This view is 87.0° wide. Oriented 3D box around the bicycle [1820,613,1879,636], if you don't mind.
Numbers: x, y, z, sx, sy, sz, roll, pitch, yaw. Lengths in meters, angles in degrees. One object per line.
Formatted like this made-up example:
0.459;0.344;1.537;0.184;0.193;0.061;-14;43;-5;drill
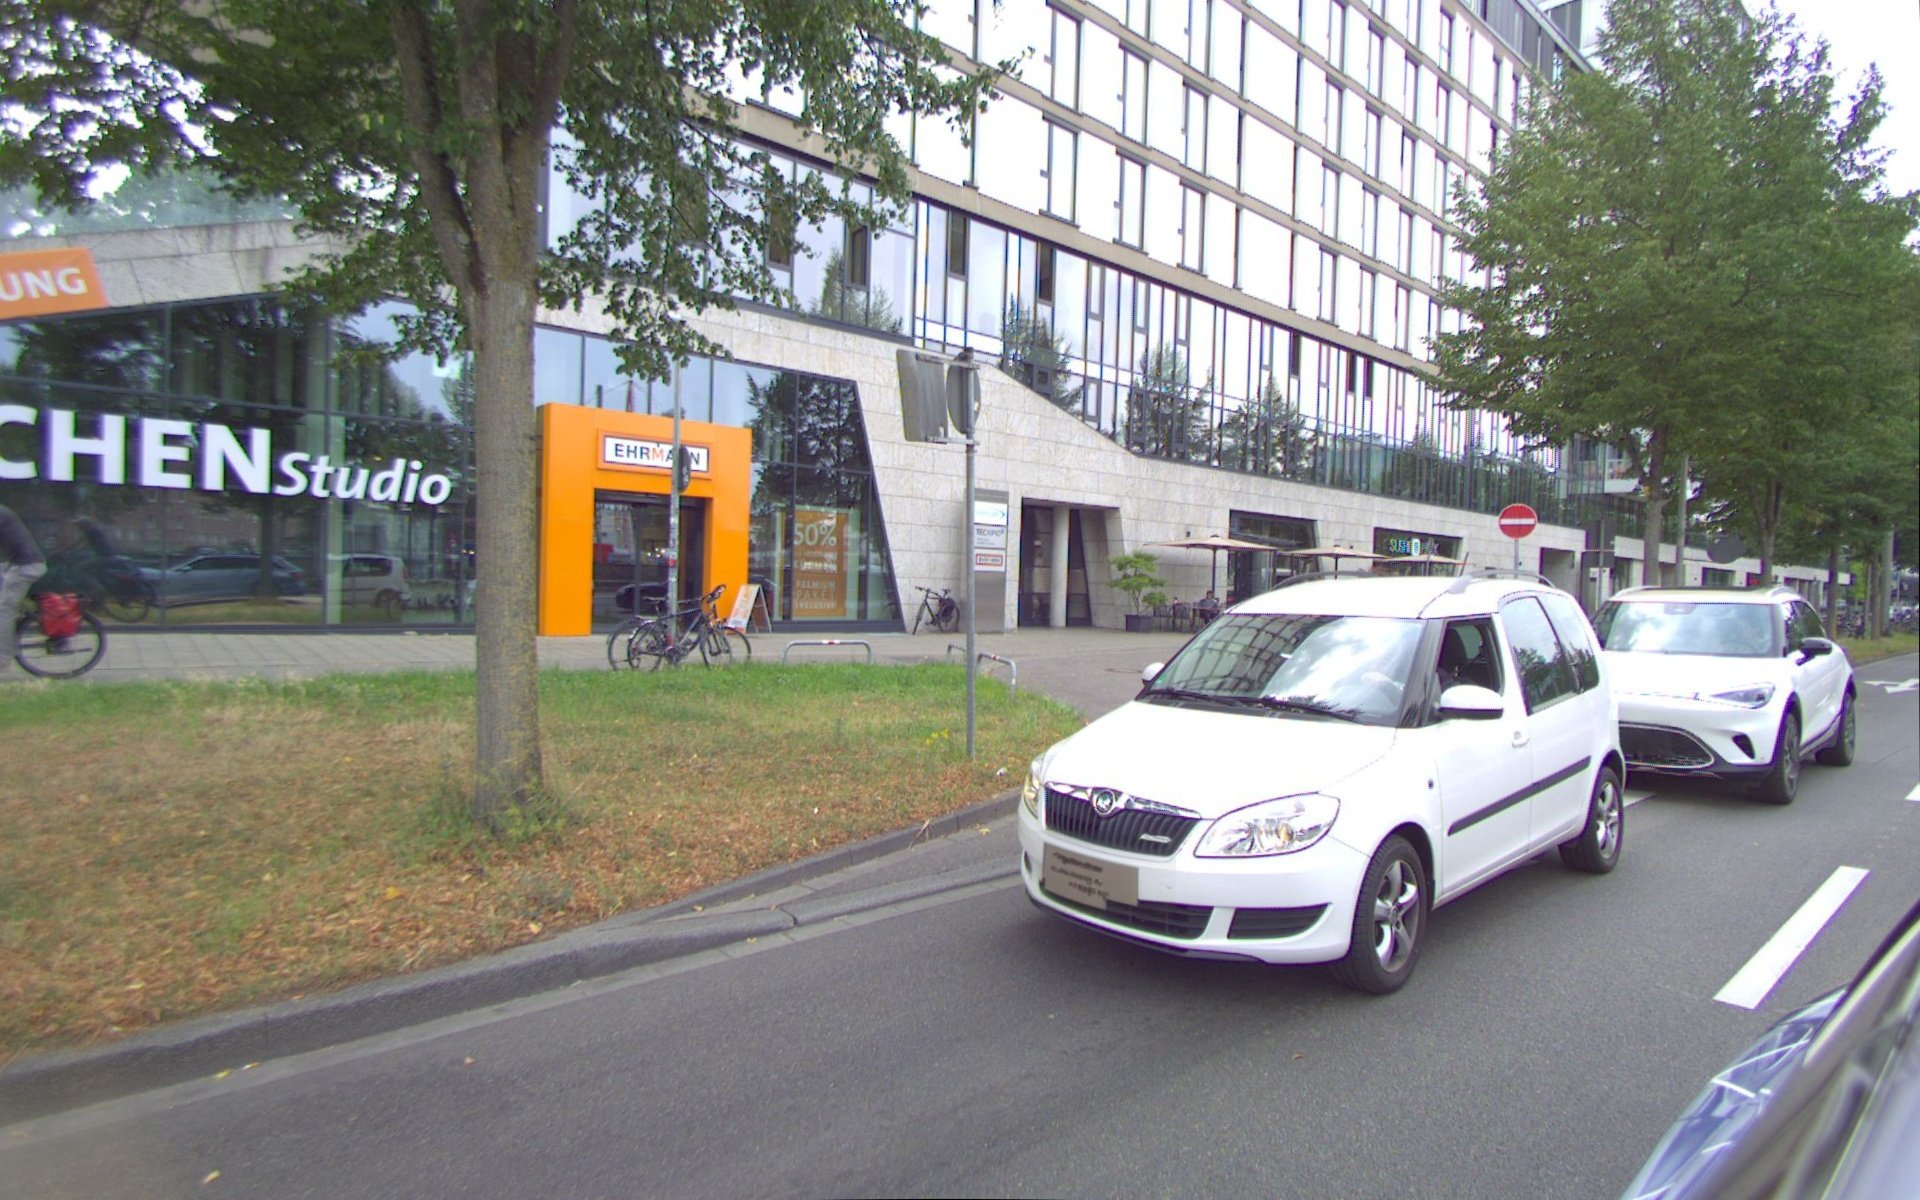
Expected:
38.746;1.070;44.089;0.602;0.963;1.862;1;-2;-43;bicycle

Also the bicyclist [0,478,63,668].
-9.313;-0.289;9.648;1.110;1.758;0.999;1;4;-42;bicyclist

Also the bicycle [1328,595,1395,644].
10.100;0.487;25.416;1.971;1.157;0.675;1;1;-40;bicycle

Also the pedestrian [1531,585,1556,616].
27.238;0.031;47.238;0.707;1.424;0.759;1;1;-33;pedestrian

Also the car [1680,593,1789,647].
24.824;0.606;32.375;4.514;1.571;1.941;1;1;-42;car

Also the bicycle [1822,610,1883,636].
39.264;1.016;44.531;0.693;1.079;1.931;1;-2;-43;bicycle

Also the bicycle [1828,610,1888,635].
39.872;1.013;44.968;0.631;1.079;1.931;1;-2;-43;bicycle

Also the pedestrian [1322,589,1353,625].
13.133;0.246;35.194;0.746;1.207;0.720;1;1;-41;pedestrian

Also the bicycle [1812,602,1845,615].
85.582;0.803;99.703;2.417;1.191;1.185;3;1;42;bicycle

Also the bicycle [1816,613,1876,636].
38.178;1.072;43.633;0.642;0.963;1.862;1;-2;-43;bicycle

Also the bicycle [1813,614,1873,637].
37.621;1.074;43.152;0.493;0.963;1.862;1;-2;-43;bicycle

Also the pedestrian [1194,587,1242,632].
7.300;0.261;28.651;0.932;1.243;0.900;1;1;-36;pedestrian

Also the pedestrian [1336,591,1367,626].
13.859;0.294;35.821;0.745;1.207;0.720;1;1;-39;pedestrian

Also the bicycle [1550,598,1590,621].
30.044;0.438;49.853;1.584;1.039;0.606;3;2;23;bicycle

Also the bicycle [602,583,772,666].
-3.462;0.289;12.992;0.630;0.968;2.074;2;1;44;bicycle

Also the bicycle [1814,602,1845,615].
84.812;0.808;98.749;2.231;1.191;0.961;3;1;42;bicycle

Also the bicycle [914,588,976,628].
-0.337;0.187;24.033;1.467;0.921;0.519;1;1;-41;bicycle

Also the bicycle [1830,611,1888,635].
40.381;1.044;45.478;1.927;1.079;0.536;-2;-2;41;bicycle

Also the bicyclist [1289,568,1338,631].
9.270;-0.016;26.560;0.971;1.601;0.727;1;3;-36;bicyclist

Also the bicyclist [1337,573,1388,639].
10.084;0.136;25.354;0.972;1.601;0.726;0;3;-40;bicyclist

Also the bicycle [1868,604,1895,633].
36.142;0.725;39.714;0.709;1.130;2.170;-2;-2;41;bicycle

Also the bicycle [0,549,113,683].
-9.470;0.132;9.553;2.229;1.250;0.903;1;1;-42;bicycle

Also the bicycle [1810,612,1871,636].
37.146;1.003;42.701;0.564;1.008;1.862;1;-2;-43;bicycle

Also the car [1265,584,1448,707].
5.771;0.528;15.326;1.919;1.494;4.850;2;1;14;car

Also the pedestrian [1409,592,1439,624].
18.000;0.309;39.263;0.743;1.207;0.723;1;1;-19;pedestrian

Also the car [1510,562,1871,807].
6.544;0.588;8.908;3.954;1.677;1.781;1;-1;-42;car

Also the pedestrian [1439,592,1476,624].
19.567;0.298;39.776;1.083;1.207;0.776;1;1;-26;pedestrian

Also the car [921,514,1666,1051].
1.911;0.550;5.126;3.952;1.677;1.782;1;1;-41;car

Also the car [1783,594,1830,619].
60.598;0.463;72.434;4.166;1.607;1.862;1;4;-41;car

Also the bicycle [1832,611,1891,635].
40.815;1.044;45.846;1.927;1.079;0.536;-2;-2;41;bicycle
